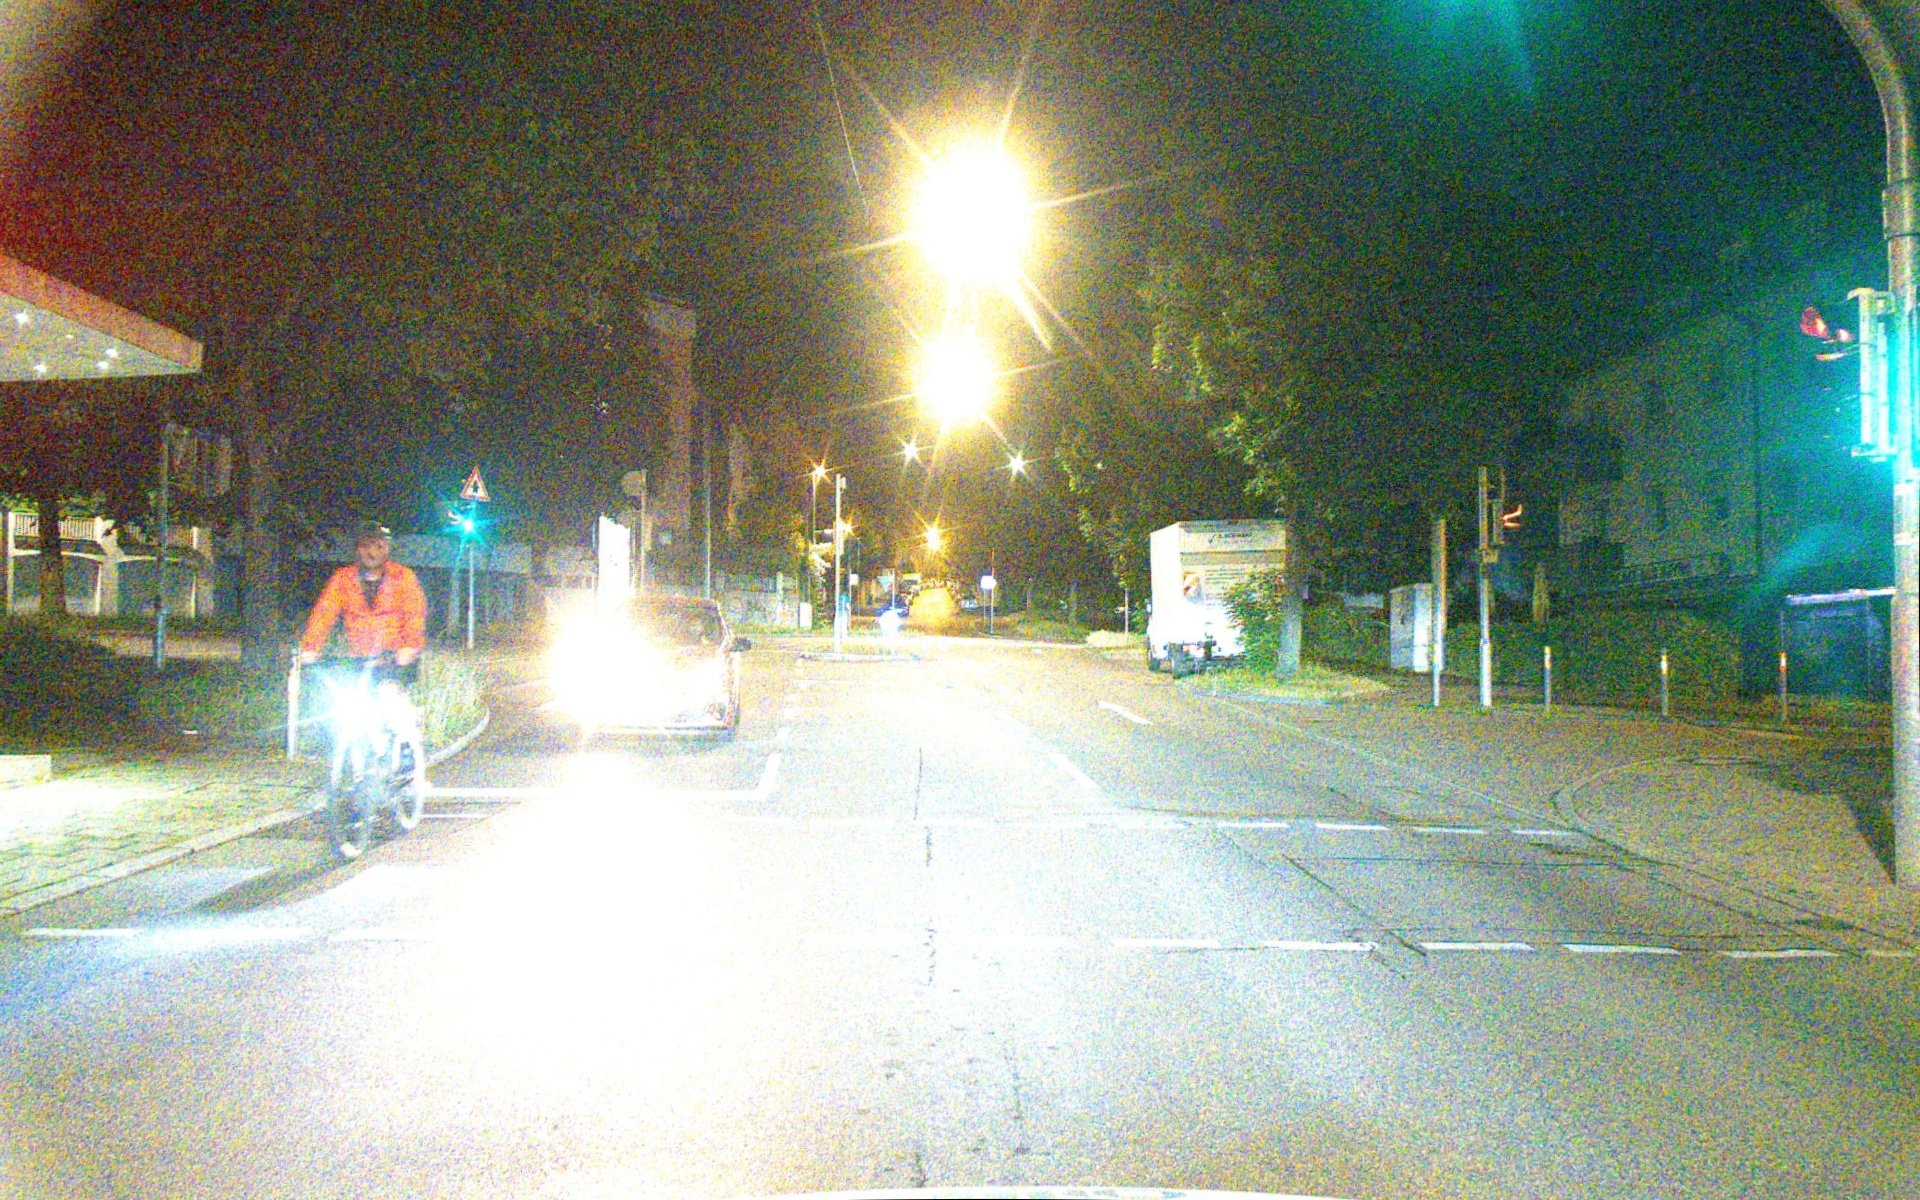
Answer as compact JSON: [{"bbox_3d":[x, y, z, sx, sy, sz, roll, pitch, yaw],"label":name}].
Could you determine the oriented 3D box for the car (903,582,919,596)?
[{"bbox_3d":[-5.539,-1.200,186.872,1.779,1.517,3.998,1,0,-2],"label":"car"}]

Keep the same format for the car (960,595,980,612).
[{"bbox_3d":[0.872,0.296,143.357,1.601,1.477,3.484,1,0,-1],"label":"car"}]

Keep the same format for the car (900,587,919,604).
[{"bbox_3d":[-4.884,-0.433,160.488,1.779,1.517,3.998,1,0,-2],"label":"car"}]

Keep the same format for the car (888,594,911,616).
[{"bbox_3d":[-4.903,0.371,134.354,1.778,1.713,3.999,1,0,-1],"label":"car"}]

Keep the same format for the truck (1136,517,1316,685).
[{"bbox_3d":[5.420,0.018,34.698,2.693,3.165,6.257,1,0,0],"label":"truck"}]

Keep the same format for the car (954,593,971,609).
[{"bbox_3d":[0.255,0.105,159.269,1.601,1.477,3.484,1,0,-1],"label":"car"}]

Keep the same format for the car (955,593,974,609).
[{"bbox_3d":[0.409,0.069,153.087,1.601,1.477,3.484,1,0,-1],"label":"car"}]

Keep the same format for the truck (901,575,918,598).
[{"bbox_3d":[-6.441,-1.701,209.496,2.044,2.897,5.828,1,0,-2],"label":"truck"}]

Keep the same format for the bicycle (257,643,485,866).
[{"bbox_3d":[-3.486,0.866,9.981,0.682,1.169,1.950,1,0,-1],"label":"bicycle"}]

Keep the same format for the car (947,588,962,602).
[{"bbox_3d":[-0.661,-0.568,191.470,1.601,1.477,3.484,1,0,-1],"label":"car"}]

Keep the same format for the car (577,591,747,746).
[{"bbox_3d":[-3.179,0.682,18.144,1.551,1.528,3.392,1,0,-6],"label":"car"}]

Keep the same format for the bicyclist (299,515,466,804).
[{"bbox_3d":[-3.478,0.345,10.028,0.676,1.666,0.896,1,-1,-1],"label":"bicyclist"}]
